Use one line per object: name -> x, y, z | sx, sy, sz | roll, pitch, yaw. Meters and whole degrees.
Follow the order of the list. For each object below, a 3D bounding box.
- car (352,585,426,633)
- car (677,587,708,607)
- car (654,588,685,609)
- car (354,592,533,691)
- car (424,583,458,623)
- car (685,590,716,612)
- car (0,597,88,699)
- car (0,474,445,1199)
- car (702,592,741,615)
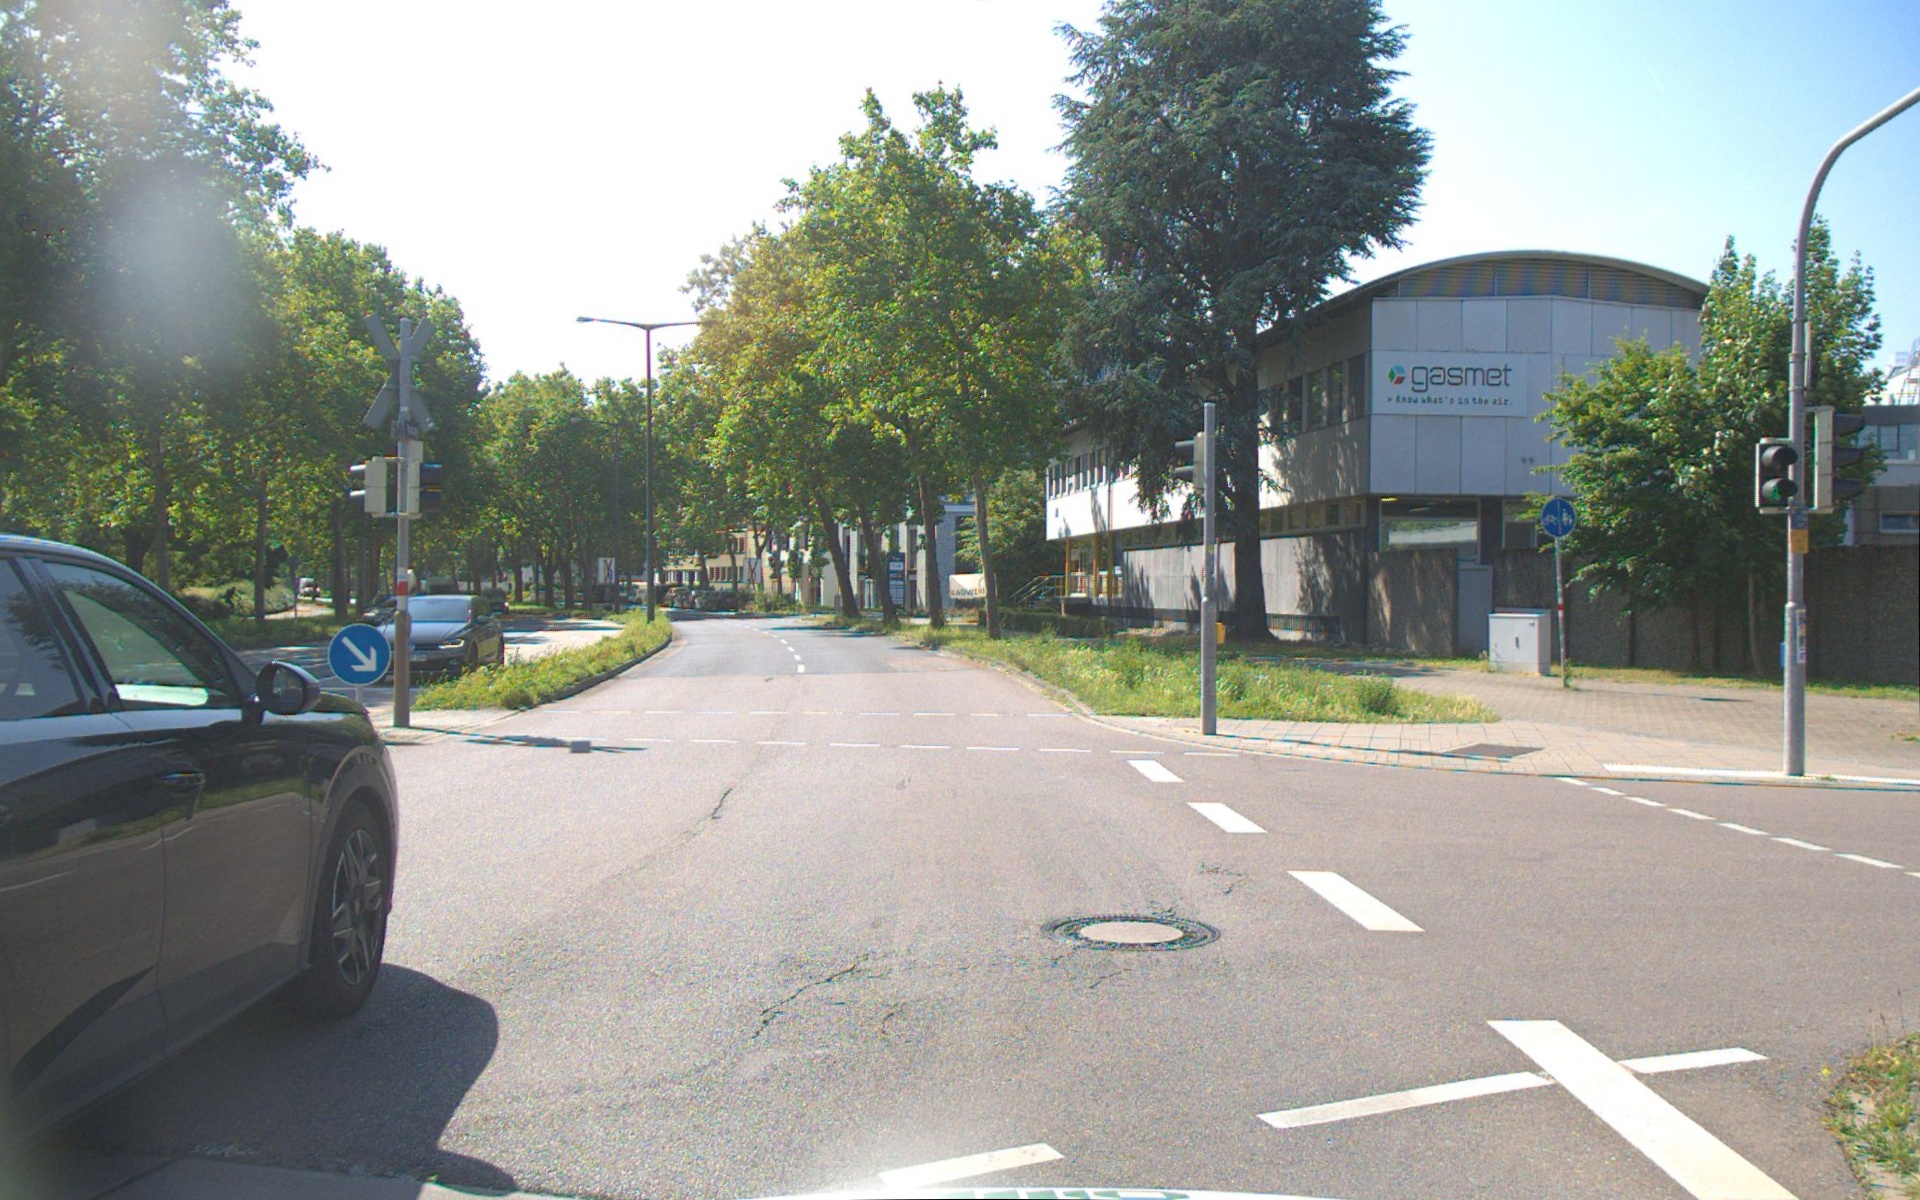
car -> -20.863, 0.302, 60.554 | 1.676, 1.617, 4.425 | -1, 1, -8
car -> -20.828, -0.223, 128.747 | 1.680, 1.480, 4.632 | 0, 1, -18
car -> -24.594, -0.173, 140.021 | 1.684, 1.698, 4.502 | 0, 1, -23
car -> -8.757, 0.649, 28.397 | 1.659, 1.534, 4.131 | 0, 1, 2
car -> -36.077, 0.165, 115.183 | 2.027, 2.659, 7.186 | -1, 1, -16
car -> -19.340, 0.065, 123.345 | 1.680, 1.513, 4.080 | 0, 1, -18
car -> -15.804, 0.755, 26.310 | 1.660, 1.534, 4.658 | 0, 1, -4
car -> -2.833, 0.589, 4.169 | 1.834, 1.726, 4.434 | 1, 1, -3
car -> -17.131, 0.217, 118.494 | 1.683, 1.513, 4.687 | -1, 1, -22
